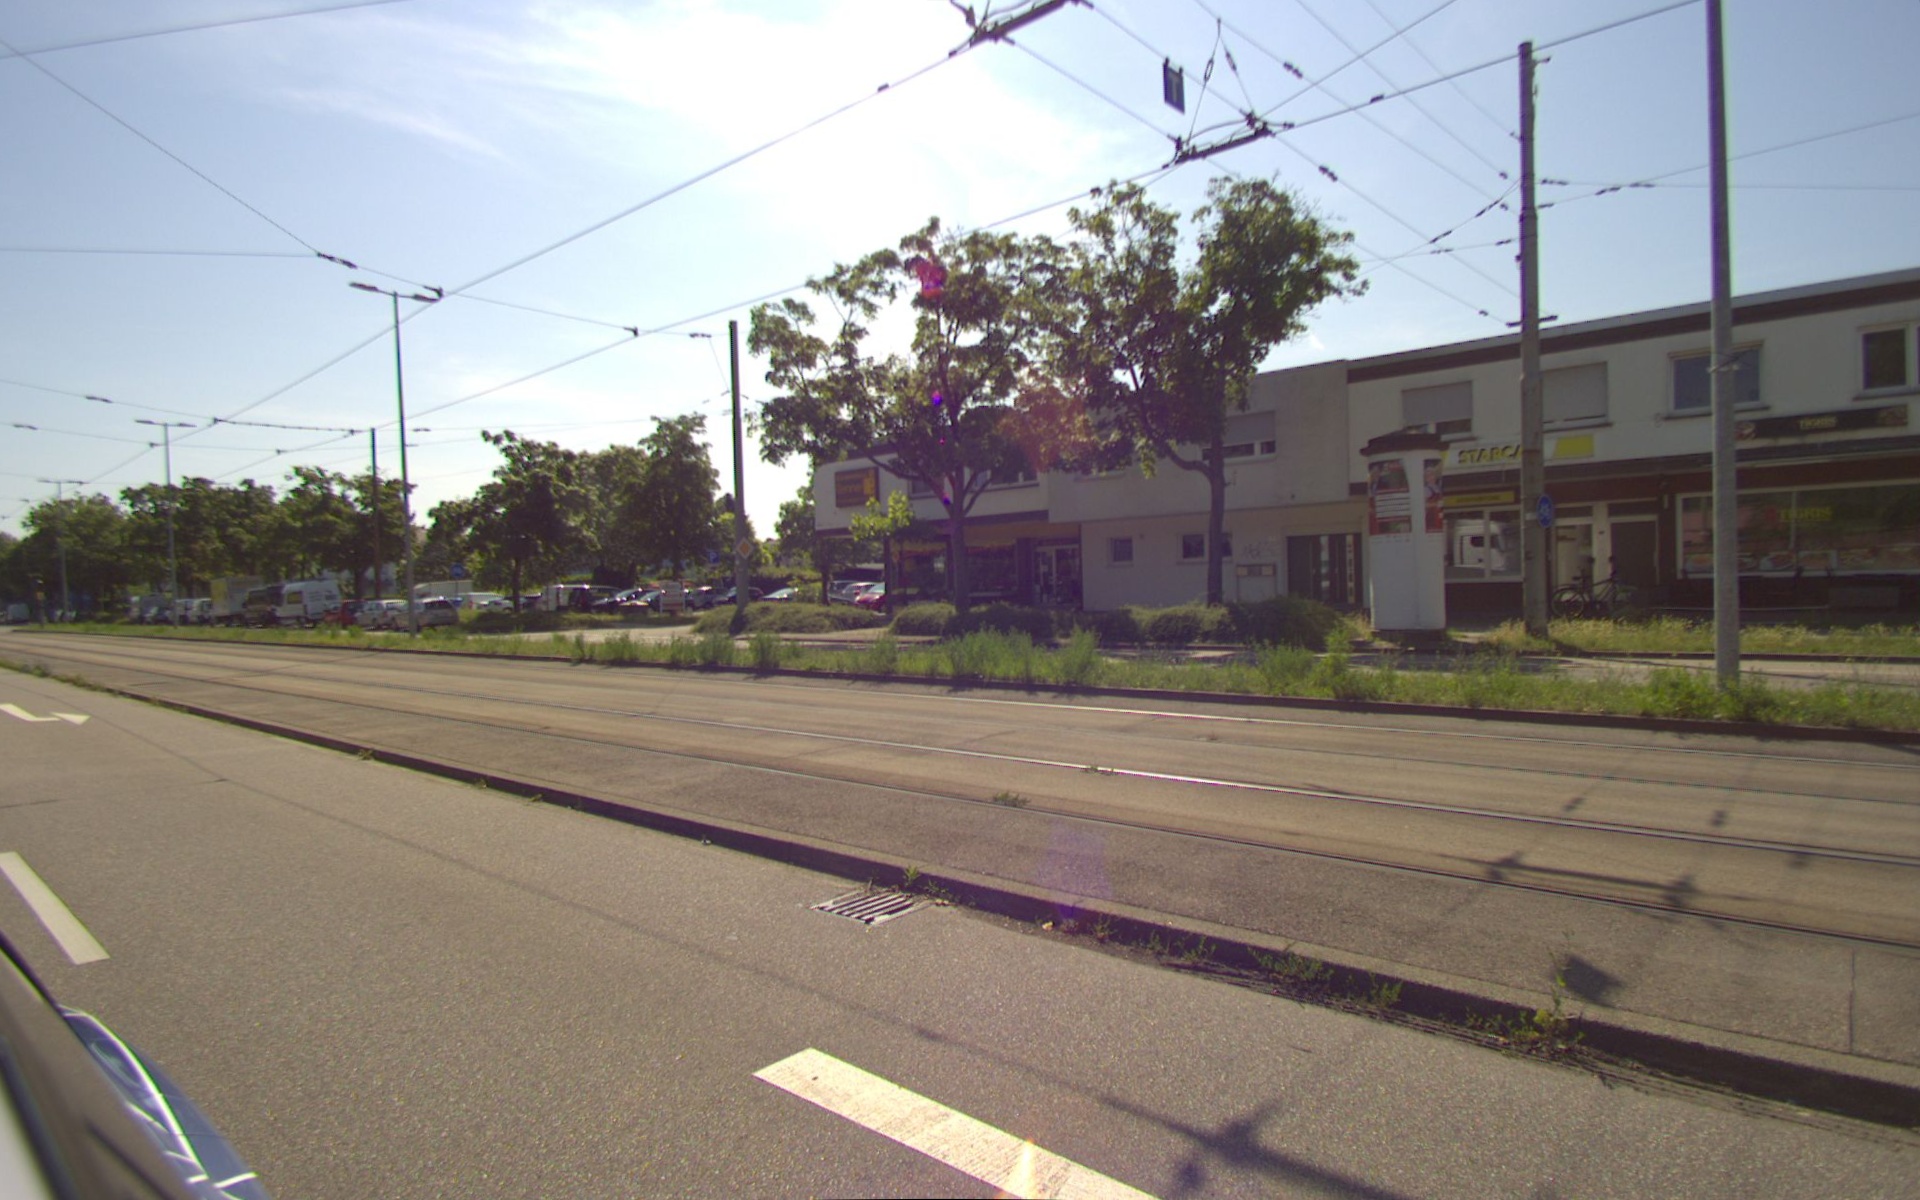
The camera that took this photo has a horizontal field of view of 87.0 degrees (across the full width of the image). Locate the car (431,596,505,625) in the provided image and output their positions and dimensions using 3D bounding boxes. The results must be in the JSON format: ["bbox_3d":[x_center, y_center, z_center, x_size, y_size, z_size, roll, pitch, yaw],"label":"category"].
[{"bbox_3d":[-33.300,0.700,68.423,5.739,1.825,2.560,-1,1,42],"label":"car"}]

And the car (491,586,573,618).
[{"bbox_3d":[-25.906,0.103,61.346,1.988,1.751,4.068,-1,1,38],"label":"car"}]

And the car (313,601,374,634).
[{"bbox_3d":[-33.155,0.945,54.372,3.791,1.544,1.654,-1,4,41],"label":"car"}]

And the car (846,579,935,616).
[{"bbox_3d":[-3.245,-0.122,47.990,1.676,1.616,4.197,-1,1,42],"label":"car"}]

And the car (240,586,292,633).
[{"bbox_3d":[-42.298,0.581,61.619,4.005,2.643,1.483,-1,4,41],"label":"car"}]

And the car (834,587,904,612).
[{"bbox_3d":[-5.531,-0.053,61.725,1.676,1.345,4.197,-1,1,42],"label":"car"}]

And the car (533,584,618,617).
[{"bbox_3d":[-22.064,-0.009,58.190,1.988,1.751,4.068,-1,1,38],"label":"car"}]

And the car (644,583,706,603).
[{"bbox_3d":[-21.038,-0.561,74.780,1.674,1.345,4.201,-1,1,39],"label":"car"}]

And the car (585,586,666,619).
[{"bbox_3d":[-17.962,0.117,54.436,1.676,1.646,3.761,-1,1,42],"label":"car"}]

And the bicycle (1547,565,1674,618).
[{"bbox_3d":[14.689,-0.167,22.899,2.333,1.161,0.779,-1,-1,42],"label":"bicycle"}]

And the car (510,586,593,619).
[{"bbox_3d":[-24.039,0.126,59.671,1.988,1.751,4.068,-1,1,38],"label":"car"}]

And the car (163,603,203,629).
[{"bbox_3d":[-59.748,1.246,77.826,4.056,1.859,1.484,-1,4,40],"label":"car"}]

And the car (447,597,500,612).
[{"bbox_3d":[-45.992,0.416,95.686,1.676,1.345,4.198,-1,1,41],"label":"car"}]

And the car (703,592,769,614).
[{"bbox_3d":[-15.421,0.206,69.727,1.676,1.345,4.197,-1,1,42],"label":"car"}]

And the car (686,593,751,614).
[{"bbox_3d":[-17.048,0.237,71.502,1.676,1.345,4.197,-1,1,42],"label":"car"}]

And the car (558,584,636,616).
[{"bbox_3d":[-20.222,-0.010,56.458,1.676,1.646,3.761,-1,1,42],"label":"car"}]

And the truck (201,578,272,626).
[{"bbox_3d":[-48.408,0.158,67.631,5.902,2.956,2.476,-1,4,42],"label":"truck"}]

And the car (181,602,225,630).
[{"bbox_3d":[-54.742,1.145,73.162,4.631,1.817,1.483,-1,4,41],"label":"car"}]

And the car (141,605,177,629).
[{"bbox_3d":[-64.409,1.374,81.366,3.685,1.799,1.484,-1,4,40],"label":"car"}]

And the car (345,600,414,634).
[{"bbox_3d":[-29.308,0.860,51.032,4.255,1.544,1.654,-1,4,41],"label":"car"}]

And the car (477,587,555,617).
[{"bbox_3d":[-28.026,0.091,64.003,1.988,1.751,4.068,-1,1,38],"label":"car"}]

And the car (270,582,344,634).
[{"bbox_3d":[-37.252,0.466,57.655,5.201,2.673,2.036,-1,4,41],"label":"car"}]

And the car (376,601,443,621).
[{"bbox_3d":[-42.069,0.803,77.437,1.676,1.345,4.198,-1,1,41],"label":"car"}]

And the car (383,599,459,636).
[{"bbox_3d":[-25.244,0.832,47.341,4.255,1.544,1.654,-1,4,41],"label":"car"}]

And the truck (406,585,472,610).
[{"bbox_3d":[-53.017,-0.278,103.049,1.988,2.398,5.584,-1,1,38],"label":"truck"}]
